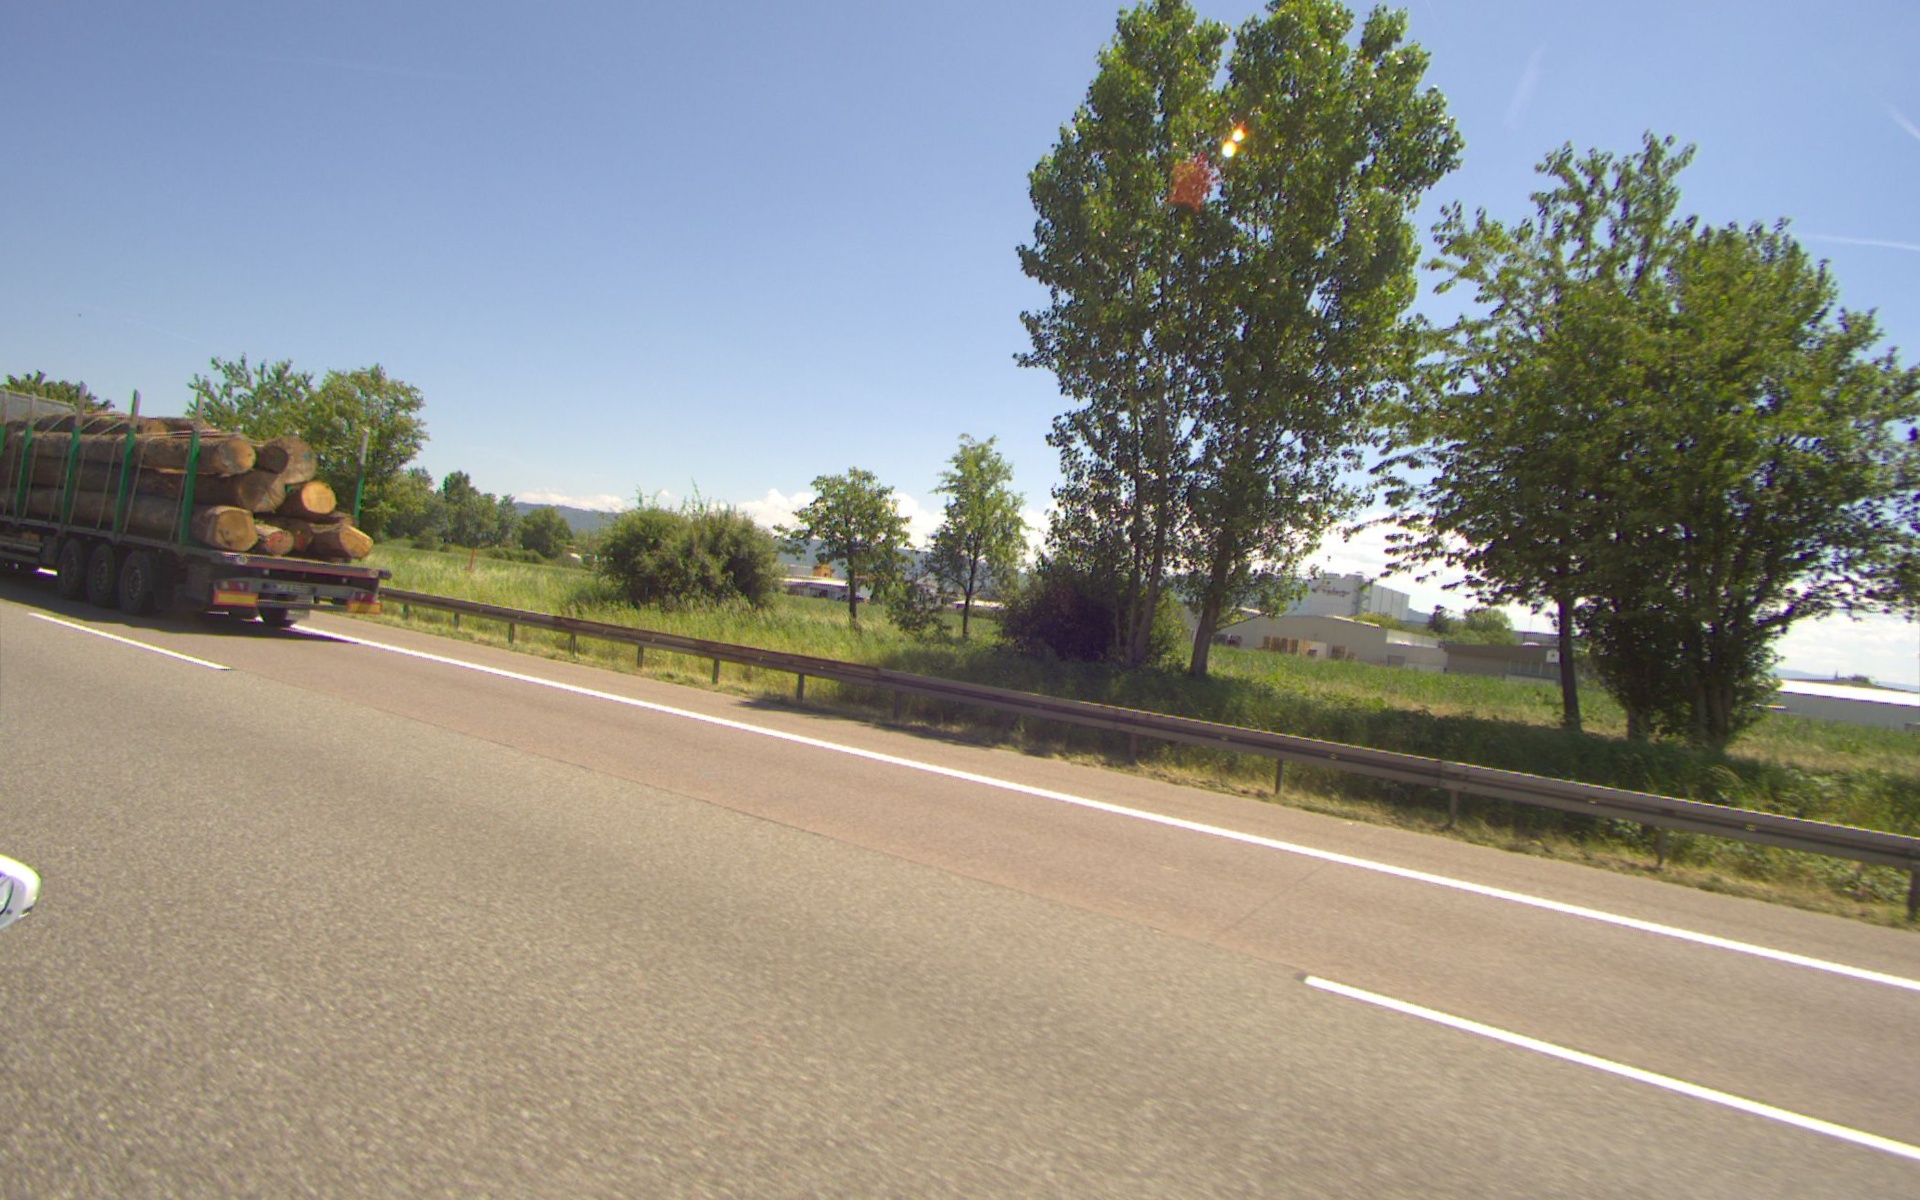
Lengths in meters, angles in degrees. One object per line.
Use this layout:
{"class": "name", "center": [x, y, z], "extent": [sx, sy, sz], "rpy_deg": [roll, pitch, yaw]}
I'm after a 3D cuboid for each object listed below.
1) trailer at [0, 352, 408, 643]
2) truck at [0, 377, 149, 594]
{"class": "trailer", "center": [-15.703, -2.050, 18.973], "extent": [13.410, 4.005, 2.658], "rpy_deg": [6, -1, 32]}
{"class": "truck", "center": [-21.345, -2.587, 22.458], "extent": [6.526, 4.041, 2.675], "rpy_deg": [7, -1, 32]}
